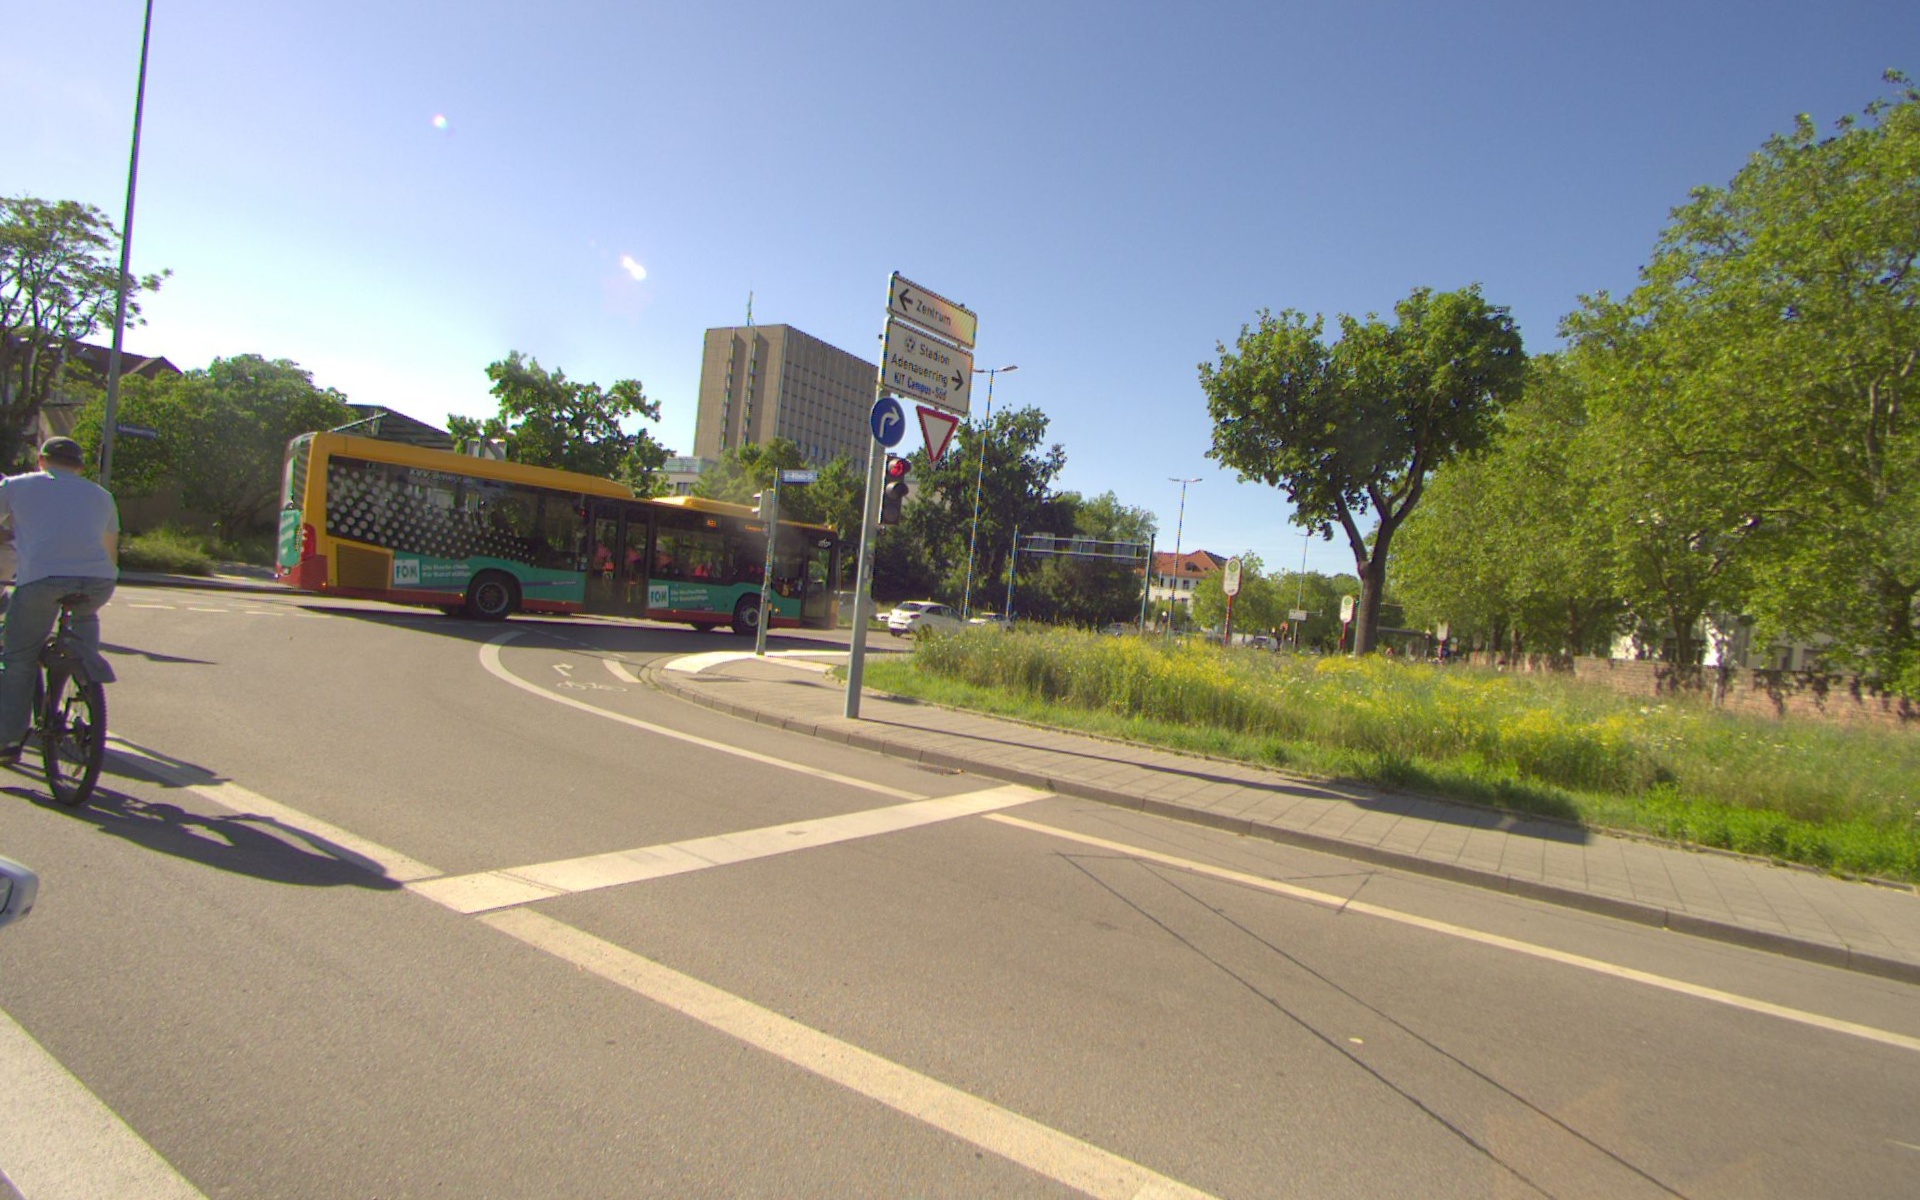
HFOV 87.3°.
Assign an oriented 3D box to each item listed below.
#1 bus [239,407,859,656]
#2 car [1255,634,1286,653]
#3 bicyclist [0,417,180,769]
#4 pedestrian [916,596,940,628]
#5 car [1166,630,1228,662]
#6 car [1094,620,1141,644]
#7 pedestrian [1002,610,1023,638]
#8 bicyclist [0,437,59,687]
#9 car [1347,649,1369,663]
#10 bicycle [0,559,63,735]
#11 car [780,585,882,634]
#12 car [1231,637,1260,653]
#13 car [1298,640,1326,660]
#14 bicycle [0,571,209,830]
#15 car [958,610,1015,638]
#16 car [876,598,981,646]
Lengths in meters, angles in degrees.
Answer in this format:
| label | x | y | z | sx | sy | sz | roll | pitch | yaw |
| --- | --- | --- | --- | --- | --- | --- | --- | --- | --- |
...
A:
| label | x | y | z | sx | sy | sz | roll | pitch | yaw |
| --- | --- | --- | --- | --- | --- | --- | --- | --- | --- |
| bus | -8.237 | -1.041 | 22.578 | 12.388 | 3.614 | 3.208 | 7 | 0 | -45 |
| car | 36.490 | 5.123 | 118.075 | 1.968 | 1.966 | 4.834 | 7 | 0 | 35 |
| bicyclist | -4.828 | -0.045 | 5.313 | 0.851 | 1.695 | 0.741 | 7 | 1 | 30 |
| pedestrian | -2.272 | 0.867 | 71.947 | 0.966 | 2.106 | 1.186 | 7 | 1 | 35 |
| car | 13.024 | 2.540 | 55.212 | 1.864 | 1.419 | 3.845 | 3 | -4 | 37 |
| car | 13.327 | 2.738 | 84.857 | 1.969 | 1.625 | 4.504 | 7 | 0 | 35 |
| pedestrian | 4.353 | 2.001 | 83.651 | 1.065 | 2.106 | 1.231 | 7 | 1 | 35 |
| bicyclist | -6.703 | -0.303 | 6.656 | 1.063 | 1.601 | 0.675 | 7 | -1 | 31 |
| car | 55.871 | 7.928 | 141.290 | 1.892 | 1.625 | 4.072 | 7 | 0 | 35 |
| bicycle | -6.818 | 0.222 | 6.681 | 1.813 | 1.063 | 0.672 | 6 | -1 | 31 |
| car | -5.464 | 0.428 | 43.036 | 1.882 | 1.625 | 4.124 | 7 | 0 | 37 |
| car | 29.697 | 4.737 | 104.551 | 1.967 | 1.378 | 4.001 | 5 | -1 | 30 |
| car | 42.007 | 5.953 | 120.011 | 1.967 | 2.062 | 4.836 | 7 | 0 | 33 |
| bicycle | -4.904 | 0.446 | 5.340 | 1.871 | 1.064 | 0.748 | 6 | 1 | 31 |
| car | 1.800 | 1.616 | 67.331 | 1.784 | 1.509 | 3.954 | 4 | -2 | 36 |
| car | -1.130 | 0.838 | 37.755 | 1.733 | 1.390 | 3.985 | 7 | 0 | 38 |
